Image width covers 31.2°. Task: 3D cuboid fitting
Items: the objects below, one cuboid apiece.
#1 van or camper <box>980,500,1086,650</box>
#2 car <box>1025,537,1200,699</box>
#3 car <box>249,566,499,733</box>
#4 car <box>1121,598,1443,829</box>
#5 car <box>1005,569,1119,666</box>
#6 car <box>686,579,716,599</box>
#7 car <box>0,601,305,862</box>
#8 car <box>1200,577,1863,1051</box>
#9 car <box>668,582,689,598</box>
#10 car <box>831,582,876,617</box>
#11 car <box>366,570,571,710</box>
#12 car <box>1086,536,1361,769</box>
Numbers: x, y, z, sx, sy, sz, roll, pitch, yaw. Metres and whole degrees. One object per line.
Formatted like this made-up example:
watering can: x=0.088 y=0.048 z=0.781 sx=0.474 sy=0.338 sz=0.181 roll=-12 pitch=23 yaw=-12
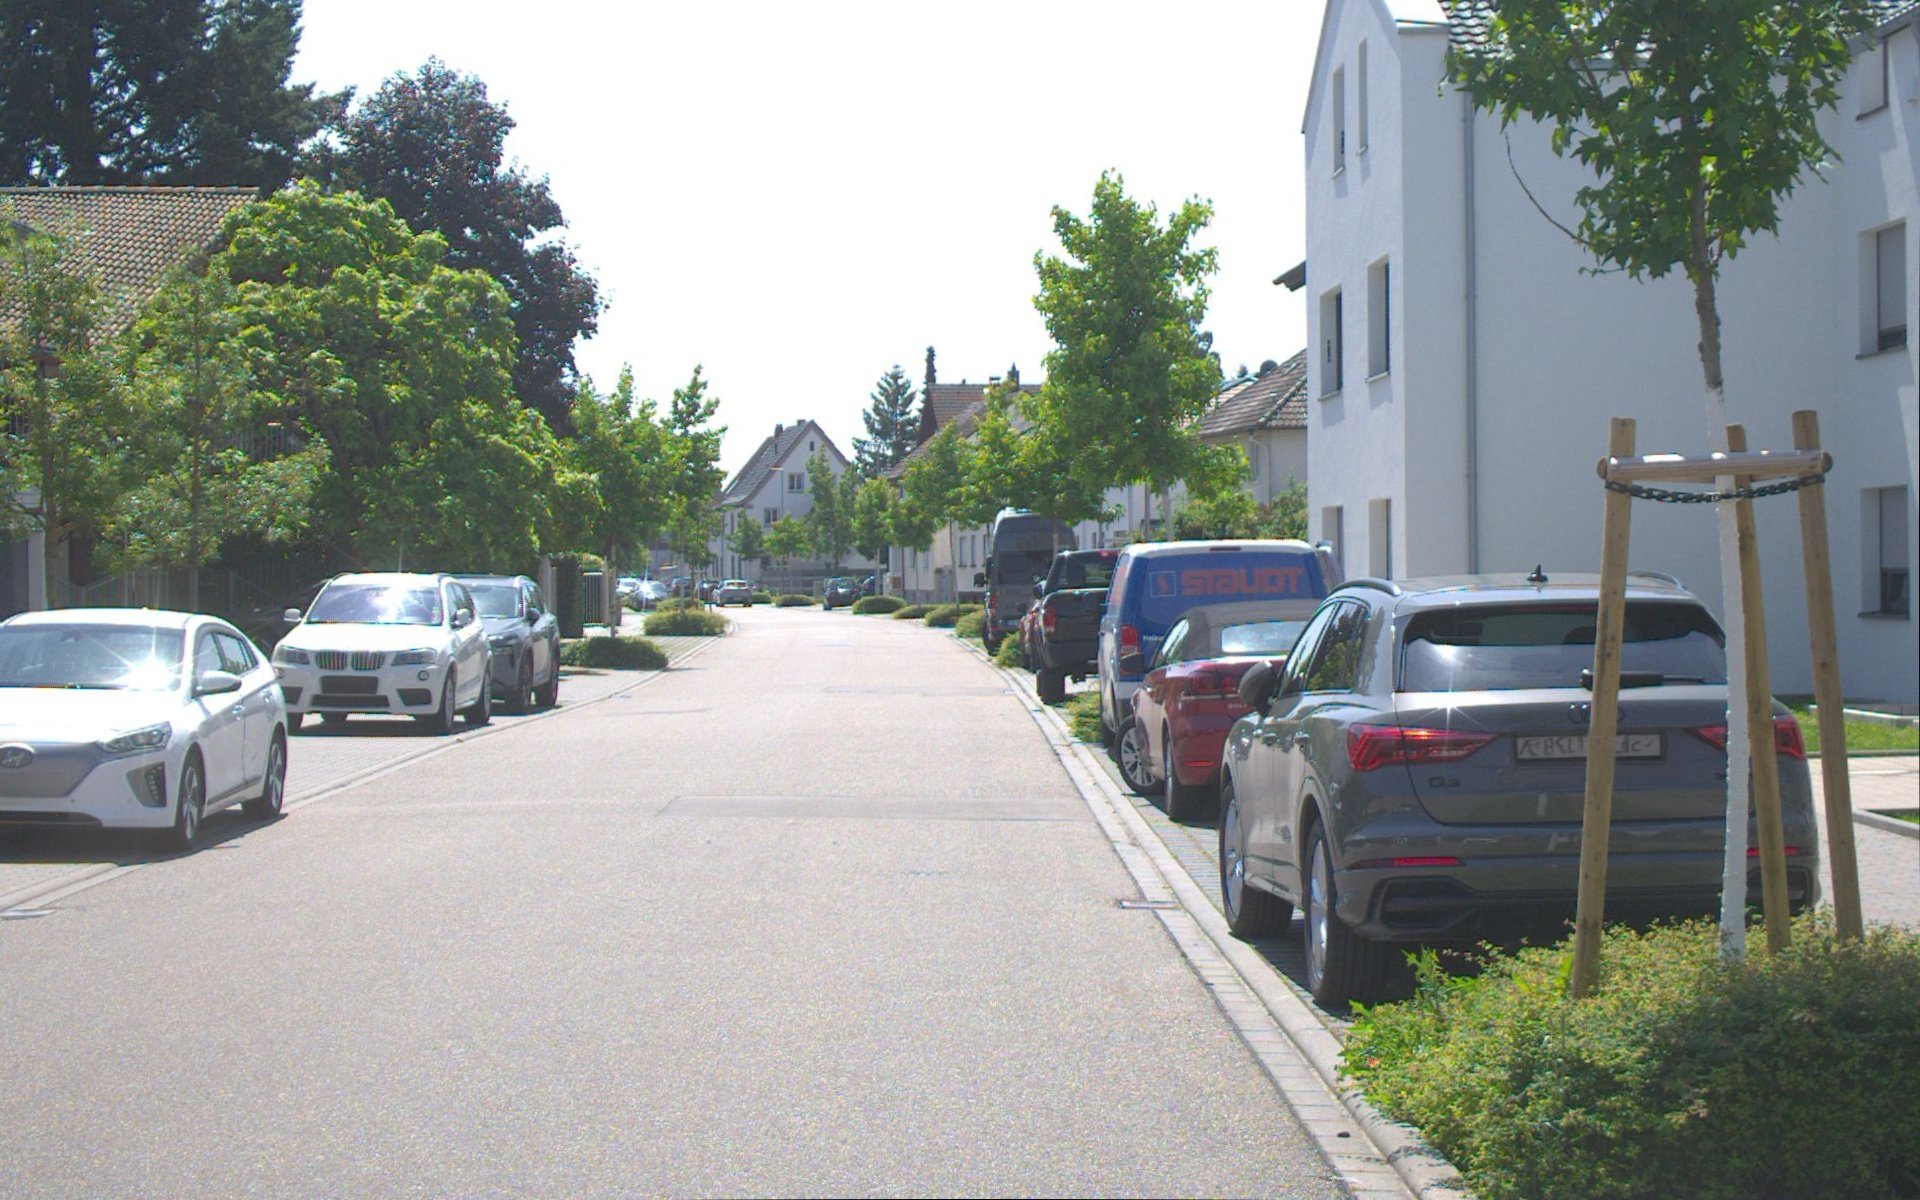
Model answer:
van or camper: x=1.440 y=-0.503 z=69.578 sx=1.993 sy=2.931 sz=4.000 roll=-1 pitch=0 yaw=0
car: x=1.928 y=0.215 z=44.911 sx=1.993 sy=1.940 sz=5.214 roll=-2 pitch=0 yaw=0
car: x=-6.259 y=0.489 z=37.207 sx=1.927 sy=1.681 sz=4.498 roll=0 pitch=0 yaw=0
car: x=2.139 y=0.717 z=23.855 sx=1.679 sy=1.437 sz=4.027 roll=0 pitch=0 yaw=-2
car: x=1.722 y=0.287 z=58.839 sx=1.670 sy=1.590 sz=3.556 roll=-1 pitch=0 yaw=-2
car: x=-16.921 y=-0.735 z=224.384 sx=1.663 sy=1.246 sz=3.932 roll=-1 pitch=0 yaw=-8
car: x=-5.613 y=0.774 z=22.383 sx=1.852 sy=1.483 sz=4.385 roll=1 pitch=0 yaw=0
car: x=2.104 y=0.720 z=13.874 sx=1.773 sy=1.590 sz=4.279 roll=-1 pitch=0 yaw=-2
car: x=-19.143 y=-0.700 z=233.585 sx=1.188 sy=1.067 sz=3.054 roll=-1 pitch=0 yaw=-9
car: x=-5.068 y=-0.033 z=163.846 sx=1.993 sy=1.568 sz=4.000 roll=-1 pitch=0 yaw=0
car: x=-6.191 y=0.478 z=43.735 sx=1.993 sy=1.674 sz=4.214 roll=0 pitch=0 yaw=0
car: x=2.237 y=0.419 z=30.408 sx=2.099 sy=1.875 sz=4.842 roll=-1 pitch=0 yaw=1
